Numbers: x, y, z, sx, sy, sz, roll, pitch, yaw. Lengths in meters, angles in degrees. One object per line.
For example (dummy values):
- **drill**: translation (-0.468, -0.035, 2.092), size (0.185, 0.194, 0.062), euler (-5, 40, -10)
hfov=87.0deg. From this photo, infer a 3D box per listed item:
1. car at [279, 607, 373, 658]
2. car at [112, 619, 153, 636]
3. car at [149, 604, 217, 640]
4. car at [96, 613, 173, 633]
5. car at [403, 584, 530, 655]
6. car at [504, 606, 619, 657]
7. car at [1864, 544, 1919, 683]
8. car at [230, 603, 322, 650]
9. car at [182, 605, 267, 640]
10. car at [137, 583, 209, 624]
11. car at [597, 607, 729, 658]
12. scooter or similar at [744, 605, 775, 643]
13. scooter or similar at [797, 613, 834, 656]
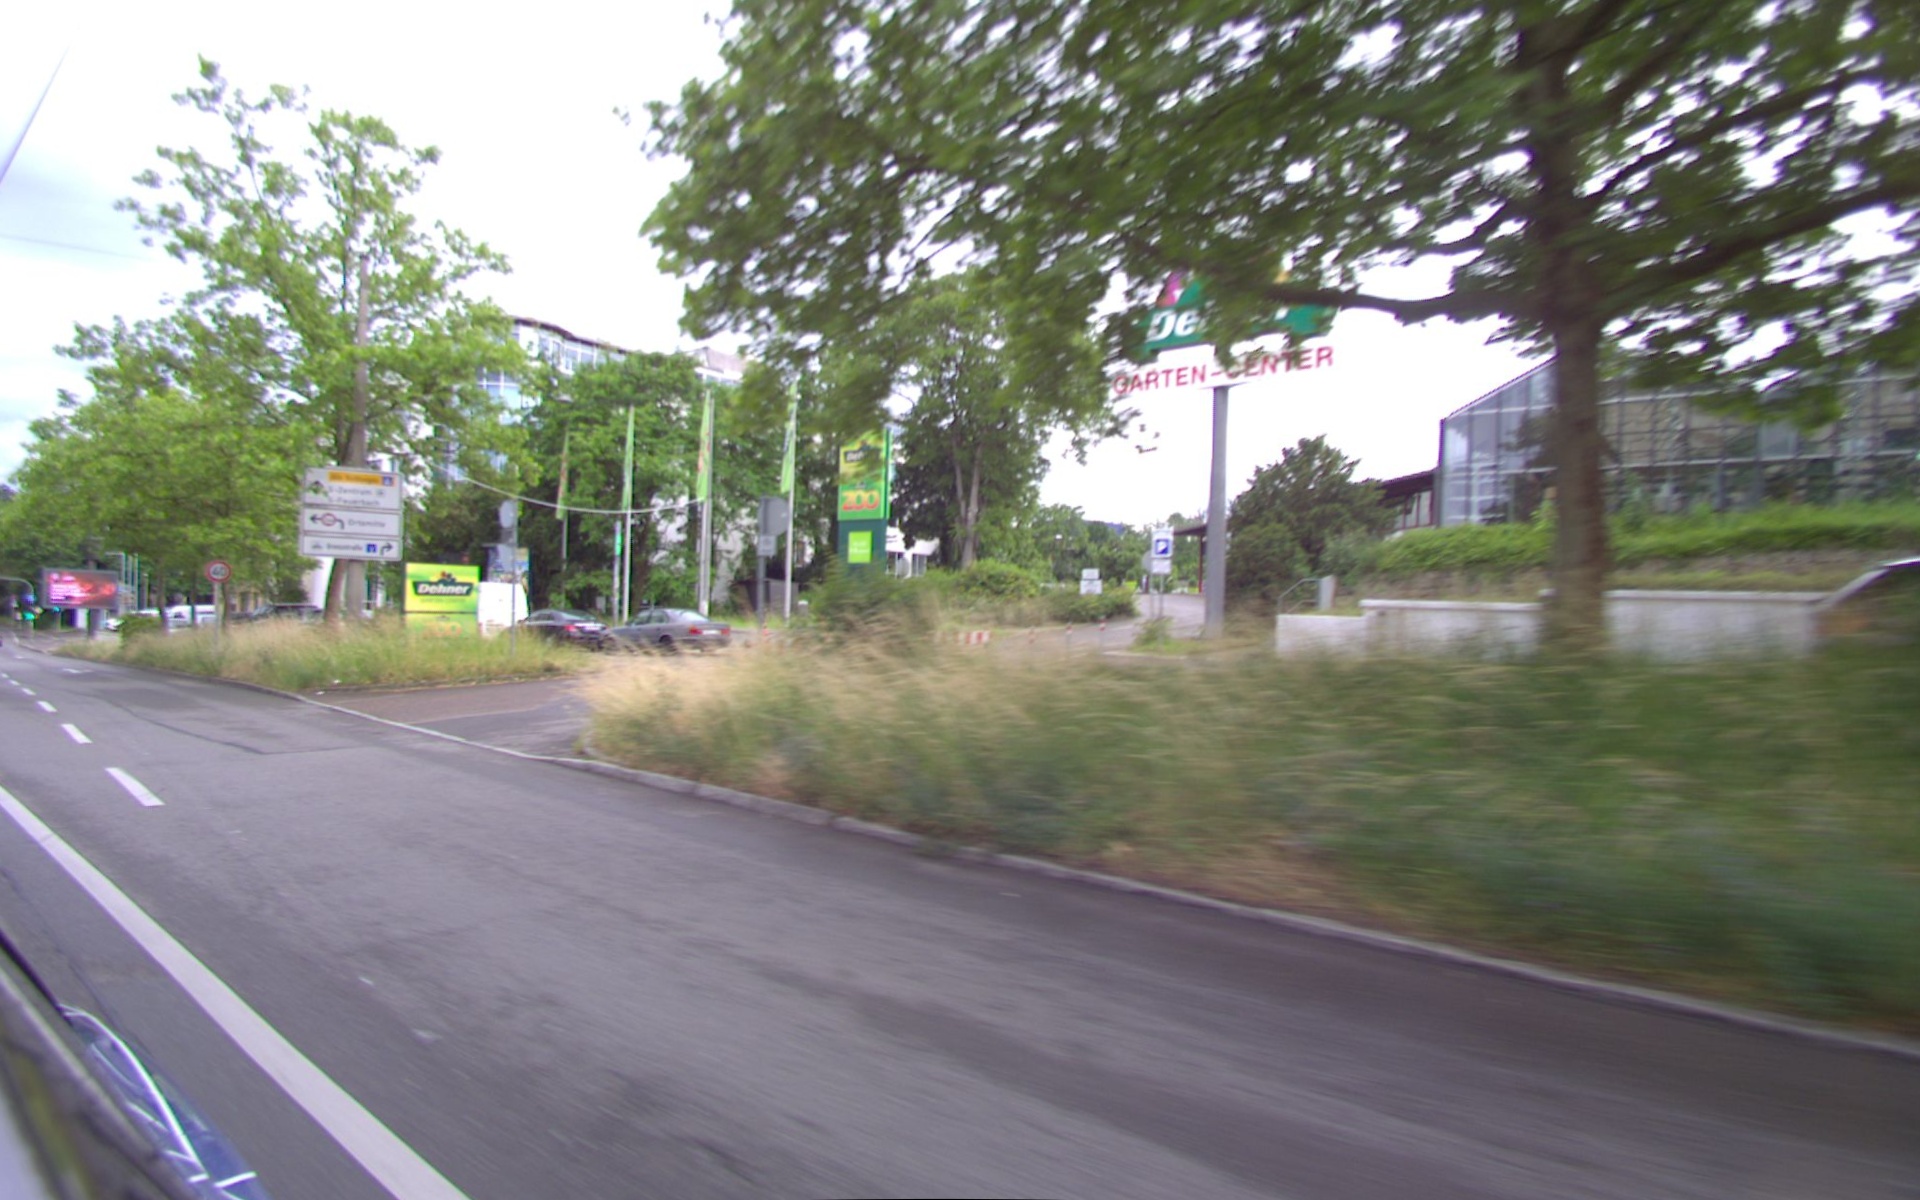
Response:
- **car**: translation (-19.480, 0.963, 31.047), size (3.705, 1.405, 1.346), euler (1, -1, 41)
- **car**: translation (-73.537, 2.446, 89.992), size (1.227, 1.435, 2.649), euler (0, 1, 42)
- **car**: translation (-35.885, 1.047, 46.700), size (4.441, 1.489, 1.629), euler (-3, -4, 41)
- **car**: translation (-79.550, 2.258, 97.585), size (2.215, 1.815, 5.309), euler (1, -1, 34)
- **car**: translation (-18.512, 0.798, 37.873), size (5.647, 2.462, 1.944), euler (-3, -4, 38)
- **car**: translation (-13.127, 1.010, 33.252), size (3.664, 1.479, 1.826), euler (1, -1, 36)
- **car**: translation (9.149, 0.144, 8.108), size (2.750, 1.139, 1.337), euler (1, -1, 39)
- **car**: translation (-23.048, 0.869, 34.069), size (3.643, 1.463, 1.636), euler (1, -1, 40)
- **car**: translation (-27.204, 0.861, 37.382), size (4.217, 1.214, 1.679), euler (-2, -3, 42)
- **car**: translation (-33.097, 0.179, 42.519), size (3.988, 1.552, 1.576), euler (-3, -4, 40)
- **car**: translation (-8.896, 0.943, 30.161), size (4.270, 1.328, 1.389), euler (1, -1, 35)
- **scooter or similar**: translation (-6.424, 0.755, 32.452), size (0.920, 1.164, 0.395), euler (1, 6, 31)
- **scooter or similar**: translation (-4.420, 1.043, 30.915), size (1.129, 1.254, 0.489), euler (1, 0, 39)
